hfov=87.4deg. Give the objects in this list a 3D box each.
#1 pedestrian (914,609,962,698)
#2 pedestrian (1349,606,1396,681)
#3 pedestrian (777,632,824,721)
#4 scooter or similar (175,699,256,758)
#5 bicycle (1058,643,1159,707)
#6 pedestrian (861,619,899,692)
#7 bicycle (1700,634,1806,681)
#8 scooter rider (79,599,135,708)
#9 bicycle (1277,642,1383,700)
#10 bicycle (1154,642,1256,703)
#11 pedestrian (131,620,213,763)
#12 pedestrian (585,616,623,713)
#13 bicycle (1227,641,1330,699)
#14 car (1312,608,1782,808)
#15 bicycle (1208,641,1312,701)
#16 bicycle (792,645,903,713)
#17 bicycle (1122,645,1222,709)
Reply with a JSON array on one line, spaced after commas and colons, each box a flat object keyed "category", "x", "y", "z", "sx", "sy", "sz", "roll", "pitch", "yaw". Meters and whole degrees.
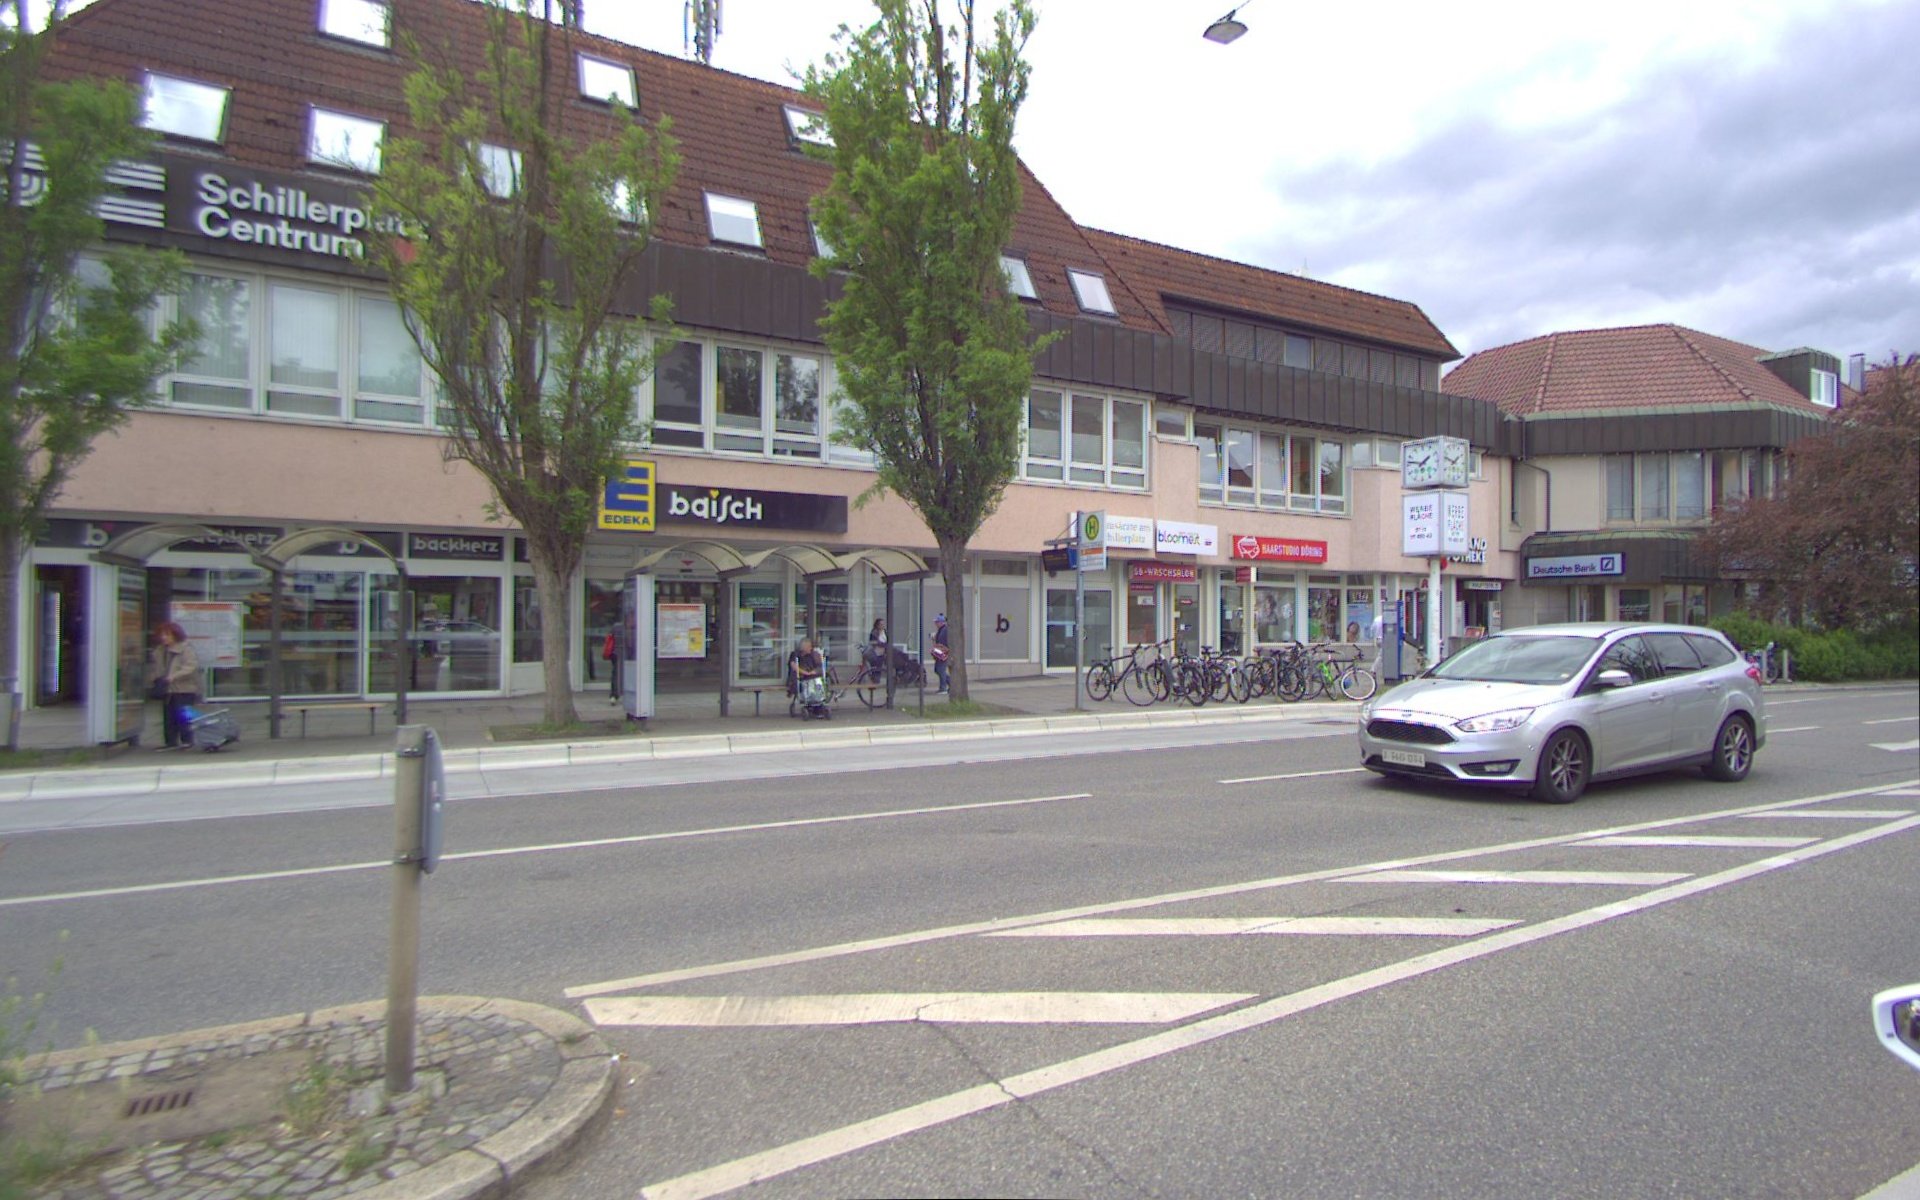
[{"category": "pedestrian", "x": -0.459, "y": 1.097, "z": 20.980, "sx": 0.746, "sy": 1.788, "sz": 0.722, "roll": 0, "pitch": 2, "yaw": -30}, {"category": "pedestrian", "x": 10.186, "y": 1.054, "z": 24.806, "sx": 0.746, "sy": 1.788, "sz": 0.722, "roll": 0, "pitch": 2, "yaw": -30}, {"category": "pedestrian", "x": -2.621, "y": 1.236, "z": 16.495, "sx": 0.580, "sy": 1.382, "sz": 0.709, "roll": -1, "pitch": 0, "yaw": -26}, {"category": "scooter or similar", "x": -8.991, "y": 1.542, "z": 12.152, "sx": 0.694, "sy": 0.609, "sz": 0.589, "roll": 0, "pitch": -1, "yaw": -29}, {"category": "bicycle", "x": 2.824, "y": 1.414, "z": 19.313, "sx": 0.644, "sy": 1.105, "sz": 2.000, "roll": 1, "pitch": -1, "yaw": -41}, {"category": "pedestrian", "x": -1.763, "y": 1.199, "z": 22.074, "sx": 0.581, "sy": 1.568, "sz": 0.708, "roll": -1, "pitch": 0, "yaw": -29}, {"category": "bicycle", "x": 19.967, "y": 1.422, "z": 25.330, "sx": 0.643, "sy": 1.105, "sz": 2.003, "roll": 0, "pitch": -1, "yaw": -37}, {"category": "scooter rider", "x": -13.967, "y": 0.855, "z": 16.468, "sx": 0.581, "sy": 1.735, "sz": 0.610, "roll": 0, "pitch": 2, "yaw": -31}, {"category": "bicycle", "x": 7.515, "y": 1.418, "z": 20.492, "sx": 0.643, "sy": 1.105, "sz": 2.003, "roll": 0, "pitch": -1, "yaw": -37}, {"category": "bicycle", "x": 4.796, "y": 1.398, "z": 19.754, "sx": 0.643, "sy": 1.105, "sz": 2.003, "roll": 0, "pitch": -1, "yaw": -37}, {"category": "pedestrian", "x": -9.668, "y": 1.086, "z": 12.320, "sx": 0.580, "sy": 1.674, "sz": 0.709, "roll": 0, "pitch": 0, "yaw": 44}, {"category": "pedestrian", "x": -6.305, "y": 1.121, "z": 17.799, "sx": 0.579, "sy": 1.674, "sz": 0.710, "roll": -1, "pitch": 0, "yaw": -23}, {"category": "bicycle", "x": 6.488, "y": 1.405, "z": 20.569, "sx": 0.643, "sy": 1.105, "sz": 2.003, "roll": 0, "pitch": -1, "yaw": -37}, {"category": "car", "x": 5.611, "y": 0.897, "z": 9.537, "sx": 4.289, "sy": 1.525, "sz": 1.867, "roll": 1, "pitch": -3, "yaw": -28}, {"category": "bicycle", "x": 5.967, "y": 1.380, "z": 20.082, "sx": 0.643, "sy": 1.105, "sz": 2.003, "roll": 0, "pitch": -1, "yaw": -37}, {"category": "bicycle", "x": -1.978, "y": 1.377, "z": 17.776, "sx": 1.908, "sy": 1.105, "sz": 0.531, "roll": 1, "pitch": -1, "yaw": -30}, {"category": "bicycle", "x": 3.990, "y": 1.420, "z": 19.043, "sx": 0.642, "sy": 1.105, "sz": 2.007, "roll": 0, "pitch": -1, "yaw": -32}]
